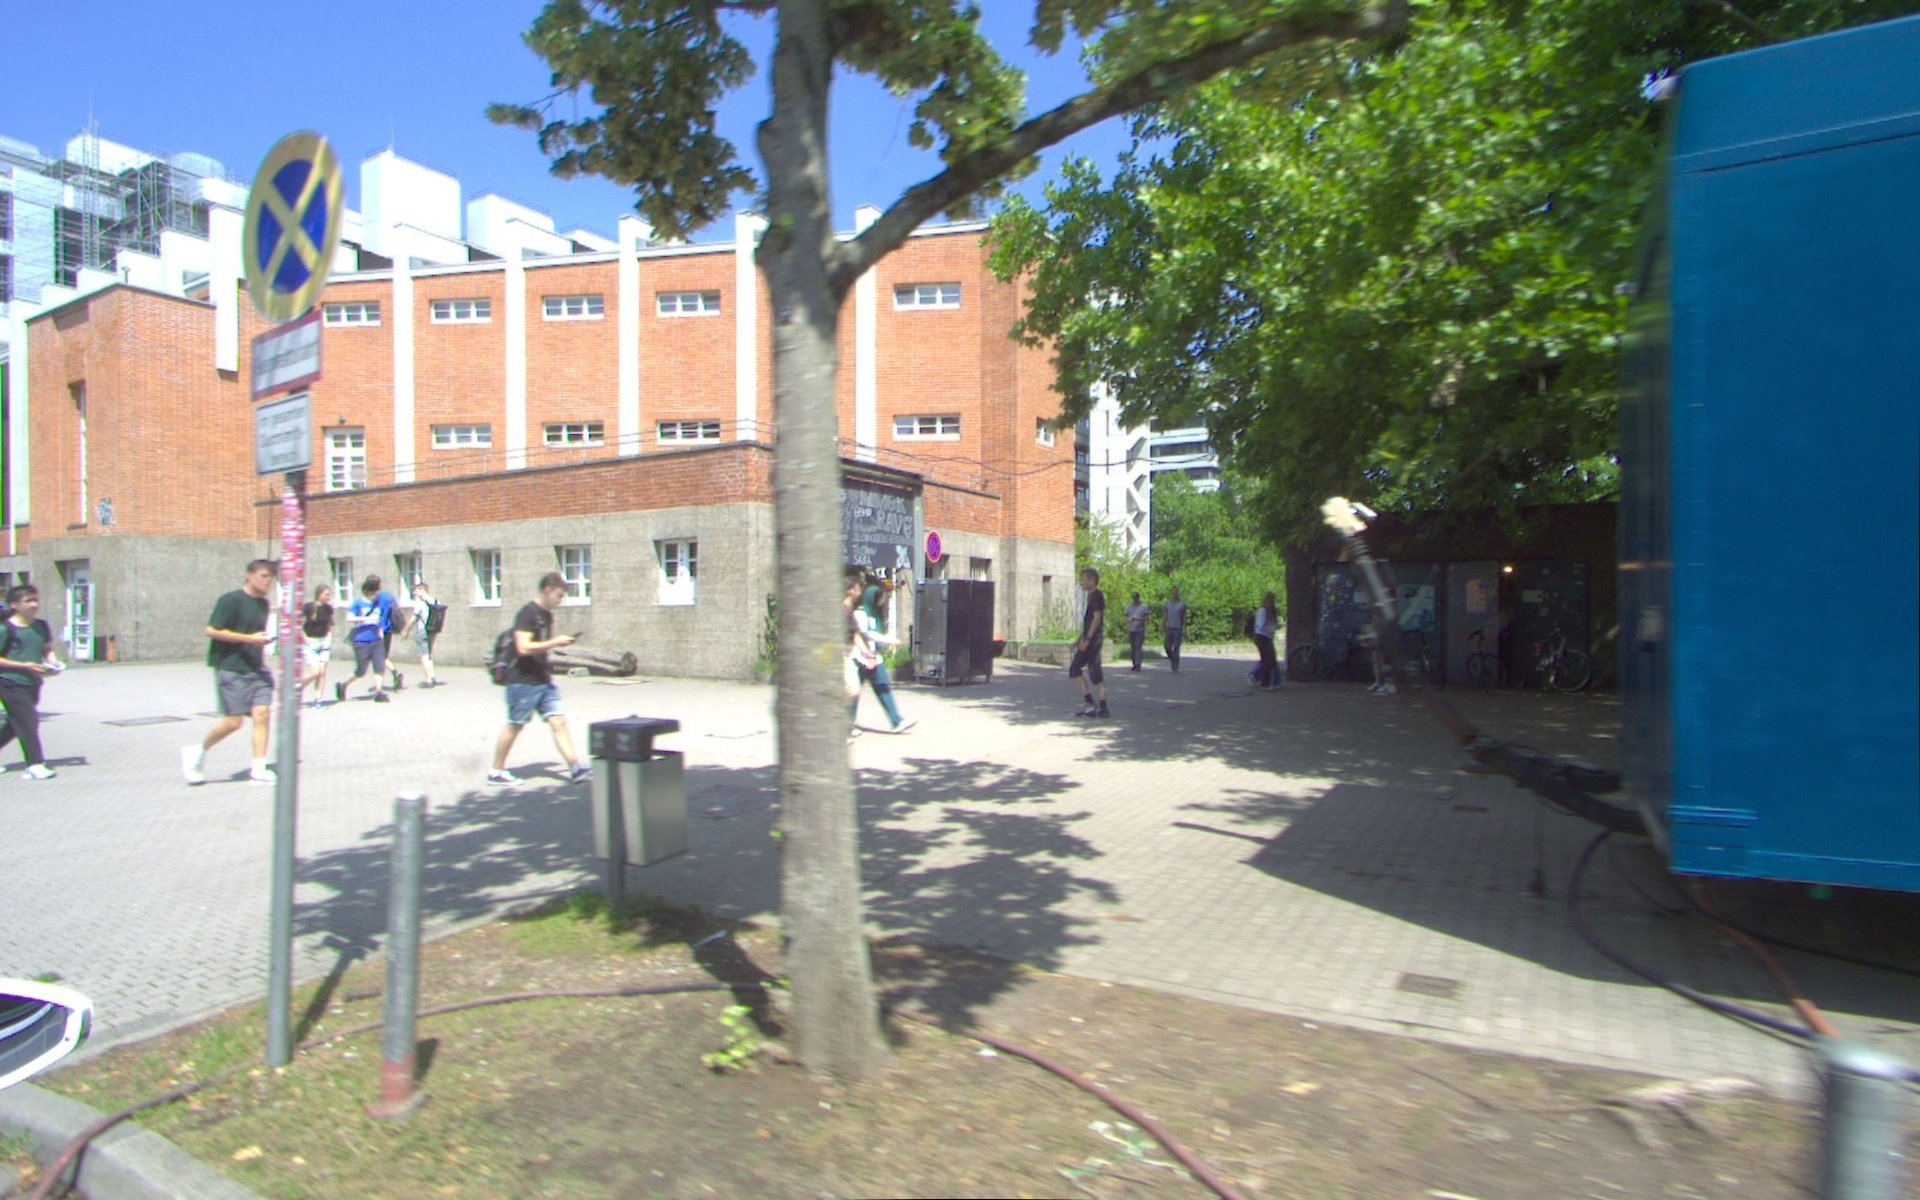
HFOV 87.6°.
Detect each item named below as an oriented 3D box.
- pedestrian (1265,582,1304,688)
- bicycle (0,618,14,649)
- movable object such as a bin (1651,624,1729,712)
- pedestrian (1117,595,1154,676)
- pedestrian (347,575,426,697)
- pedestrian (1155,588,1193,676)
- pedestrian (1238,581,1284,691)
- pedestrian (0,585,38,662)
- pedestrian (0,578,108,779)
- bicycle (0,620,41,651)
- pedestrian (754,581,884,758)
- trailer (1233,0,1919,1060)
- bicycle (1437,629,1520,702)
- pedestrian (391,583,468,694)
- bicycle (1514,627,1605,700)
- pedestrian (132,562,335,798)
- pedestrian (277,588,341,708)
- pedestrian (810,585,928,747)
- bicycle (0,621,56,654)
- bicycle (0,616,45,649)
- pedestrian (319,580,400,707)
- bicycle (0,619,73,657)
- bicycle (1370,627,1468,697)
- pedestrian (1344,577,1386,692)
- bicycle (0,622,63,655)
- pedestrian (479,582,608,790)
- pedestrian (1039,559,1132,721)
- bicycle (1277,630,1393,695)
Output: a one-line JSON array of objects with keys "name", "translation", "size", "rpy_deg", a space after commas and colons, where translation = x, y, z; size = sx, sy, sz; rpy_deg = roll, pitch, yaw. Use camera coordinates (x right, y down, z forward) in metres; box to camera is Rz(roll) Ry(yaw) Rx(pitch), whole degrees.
[{"name": "pedestrian", "translation": [5.959, 0.638, 18.391], "size": [0.548, 1.908, 0.529], "rpy_deg": [-1, 1, 4]}, {"name": "bicycle", "translation": [-31.580, 1.088, 32.041], "size": [0.552, 0.998, 1.806], "rpy_deg": [0, 1, 30]}, {"name": "movable object such as a bin", "translation": [9.297, 0.859, 12.784], "size": [0.732, 1.085, 0.598], "rpy_deg": [-2, -1, 32]}, {"name": "pedestrian", "translation": [3.976, 0.786, 22.621], "size": [0.718, 1.763, 0.833], "rpy_deg": [0, 4, 18]}, {"name": "pedestrian", "translation": [-9.330, 0.555, 16.296], "size": [0.978, 1.917, 0.700], "rpy_deg": [1, 2, 30]}, {"name": "pedestrian", "translation": [4.753, 0.719, 22.209], "size": [0.718, 1.907, 0.834], "rpy_deg": [-1, -1, 18]}, {"name": "pedestrian", "translation": [5.340, 0.640, 17.749], "size": [0.521, 1.907, 0.556], "rpy_deg": [1, 0, -29]}, {"name": "pedestrian", "translation": [-23.839, 0.588, 25.082], "size": [1.100, 1.884, 0.789], "rpy_deg": [0, 1, 31]}, {"name": "pedestrian", "translation": [-8.469, 0.680, 8.992], "size": [0.975, 1.743, 0.702], "rpy_deg": [-1, 2, -13]}, {"name": "bicycle", "translation": [-29.968, 1.118, 31.241], "size": [0.552, 0.924, 1.806], "rpy_deg": [0, 1, 30]}, {"name": "pedestrian", "translation": [-1.399, 0.650, 10.008], "size": [0.935, 1.660, 0.874], "rpy_deg": [0, 1, 31]}, {"name": "trailer", "translation": [4.352, -0.260, 3.386], "size": [6.164, 3.093, 2.687], "rpy_deg": [0, 1, 30]}, {"name": "bicycle", "translation": [8.525, 1.025, 16.404], "size": [0.773, 1.086, 2.387], "rpy_deg": [-1, -1, 38]}, {"name": "pedestrian", "translation": [-9.004, 0.626, 17.016], "size": [0.979, 1.828, 0.700], "rpy_deg": [1, 3, 30]}, {"name": "bicycle", "translation": [9.629, 0.992, 16.029], "size": [0.774, 1.085, 2.384], "rpy_deg": [-1, -2, 43]}, {"name": "pedestrian", "translation": [-6.096, 0.645, 8.457], "size": [1.094, 1.884, 0.854], "rpy_deg": [0, 0, 4]}, {"name": "pedestrian", "translation": [-9.192, 0.670, 14.152], "size": [0.561, 1.652, 0.502], "rpy_deg": [-1, 0, 18]}, {"name": "pedestrian", "translation": [-0.979, 0.688, 10.871], "size": [0.934, 1.659, 0.874], "rpy_deg": [-1, 0, 29]}, {"name": "bicycle", "translation": [-28.807, 1.141, 30.485], "size": [0.552, 0.924, 1.806], "rpy_deg": [0, 1, 30]}, {"name": "bicycle", "translation": [-29.385, 1.002, 30.760], "size": [0.552, 0.998, 1.806], "rpy_deg": [0, 1, 30]}, {"name": "pedestrian", "translation": [-8.892, 0.633, 14.841], "size": [0.739, 1.811, 0.709], "rpy_deg": [-1, 0, 18]}, {"name": "bicycle", "translation": [-26.605, 1.081, 28.813], "size": [0.552, 1.047, 1.532], "rpy_deg": [0, 1, 30]}, {"name": "bicycle", "translation": [7.799, 1.011, 16.944], "size": [0.775, 1.086, 2.382], "rpy_deg": [-1, -1, 44]}, {"name": "pedestrian", "translation": [6.885, 0.576, 17.007], "size": [0.523, 1.907, 0.445], "rpy_deg": [1, 0, 42]}, {"name": "bicycle", "translation": [-28.129, 1.140, 29.976], "size": [0.552, 0.924, 1.806], "rpy_deg": [0, 1, 30]}, {"name": "pedestrian", "translation": [-3.402, 0.665, 8.259], "size": [0.815, 1.617, 0.849], "rpy_deg": [0, 1, -12]}, {"name": "pedestrian", "translation": [1.540, 0.479, 12.172], "size": [1.056, 1.891, 0.763], "rpy_deg": [0, -1, 13]}, {"name": "bicycle", "translation": [7.092, 1.155, 18.981], "size": [1.997, 1.155, 0.572], "rpy_deg": [0, 0, 32]}]
